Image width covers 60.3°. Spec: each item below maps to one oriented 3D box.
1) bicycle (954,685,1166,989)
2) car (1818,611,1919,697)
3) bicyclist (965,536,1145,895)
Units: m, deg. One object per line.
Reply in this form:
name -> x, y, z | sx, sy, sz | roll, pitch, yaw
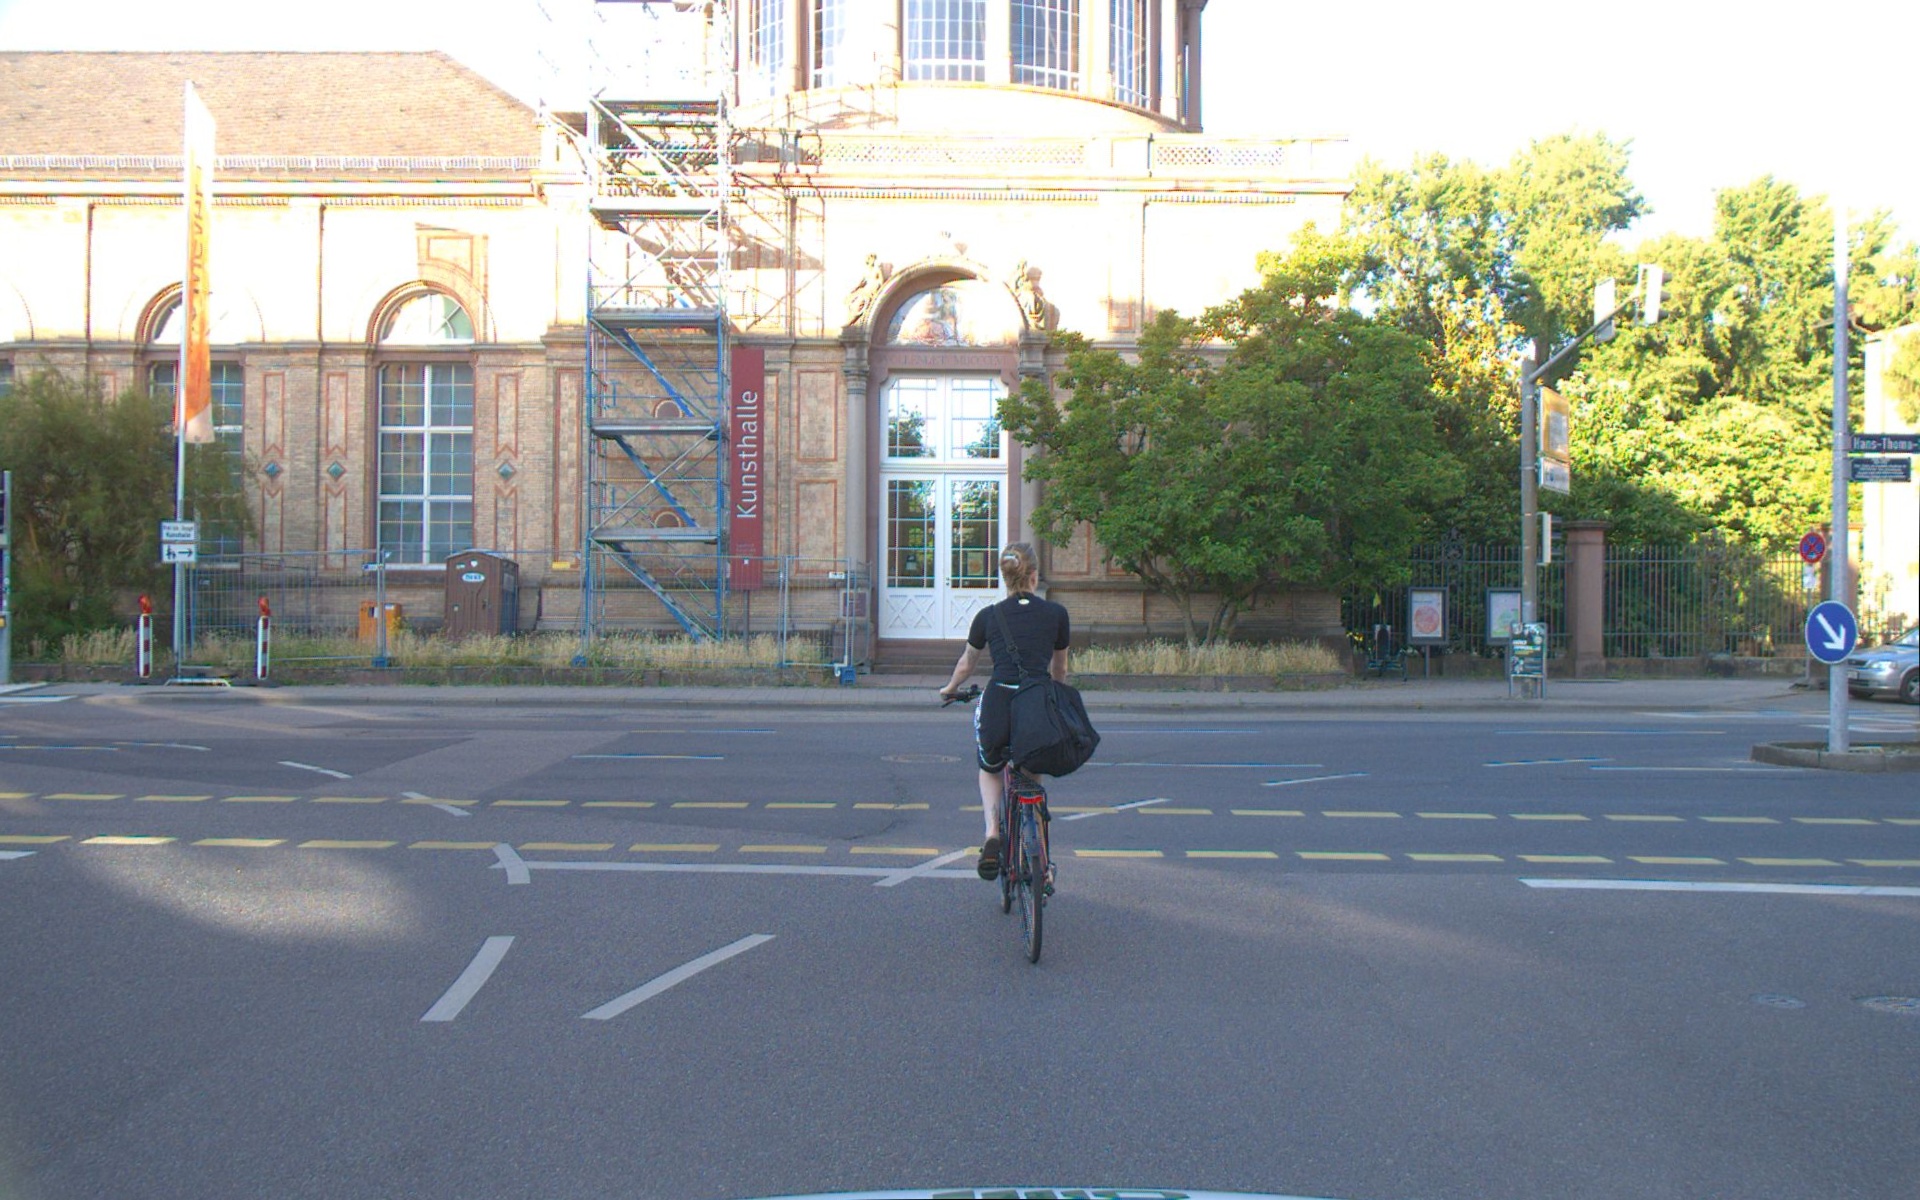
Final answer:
bicycle -> 0.402, 1.006, 7.705 | 0.697, 1.176, 2.066 | 0, -2, -5
car -> 17.713, 0.935, 29.430 | 4.104, 1.470, 1.713 | 0, 0, -6
bicyclist -> 0.411, 0.505, 7.521 | 0.702, 1.529, 0.849 | 0, -2, -5
